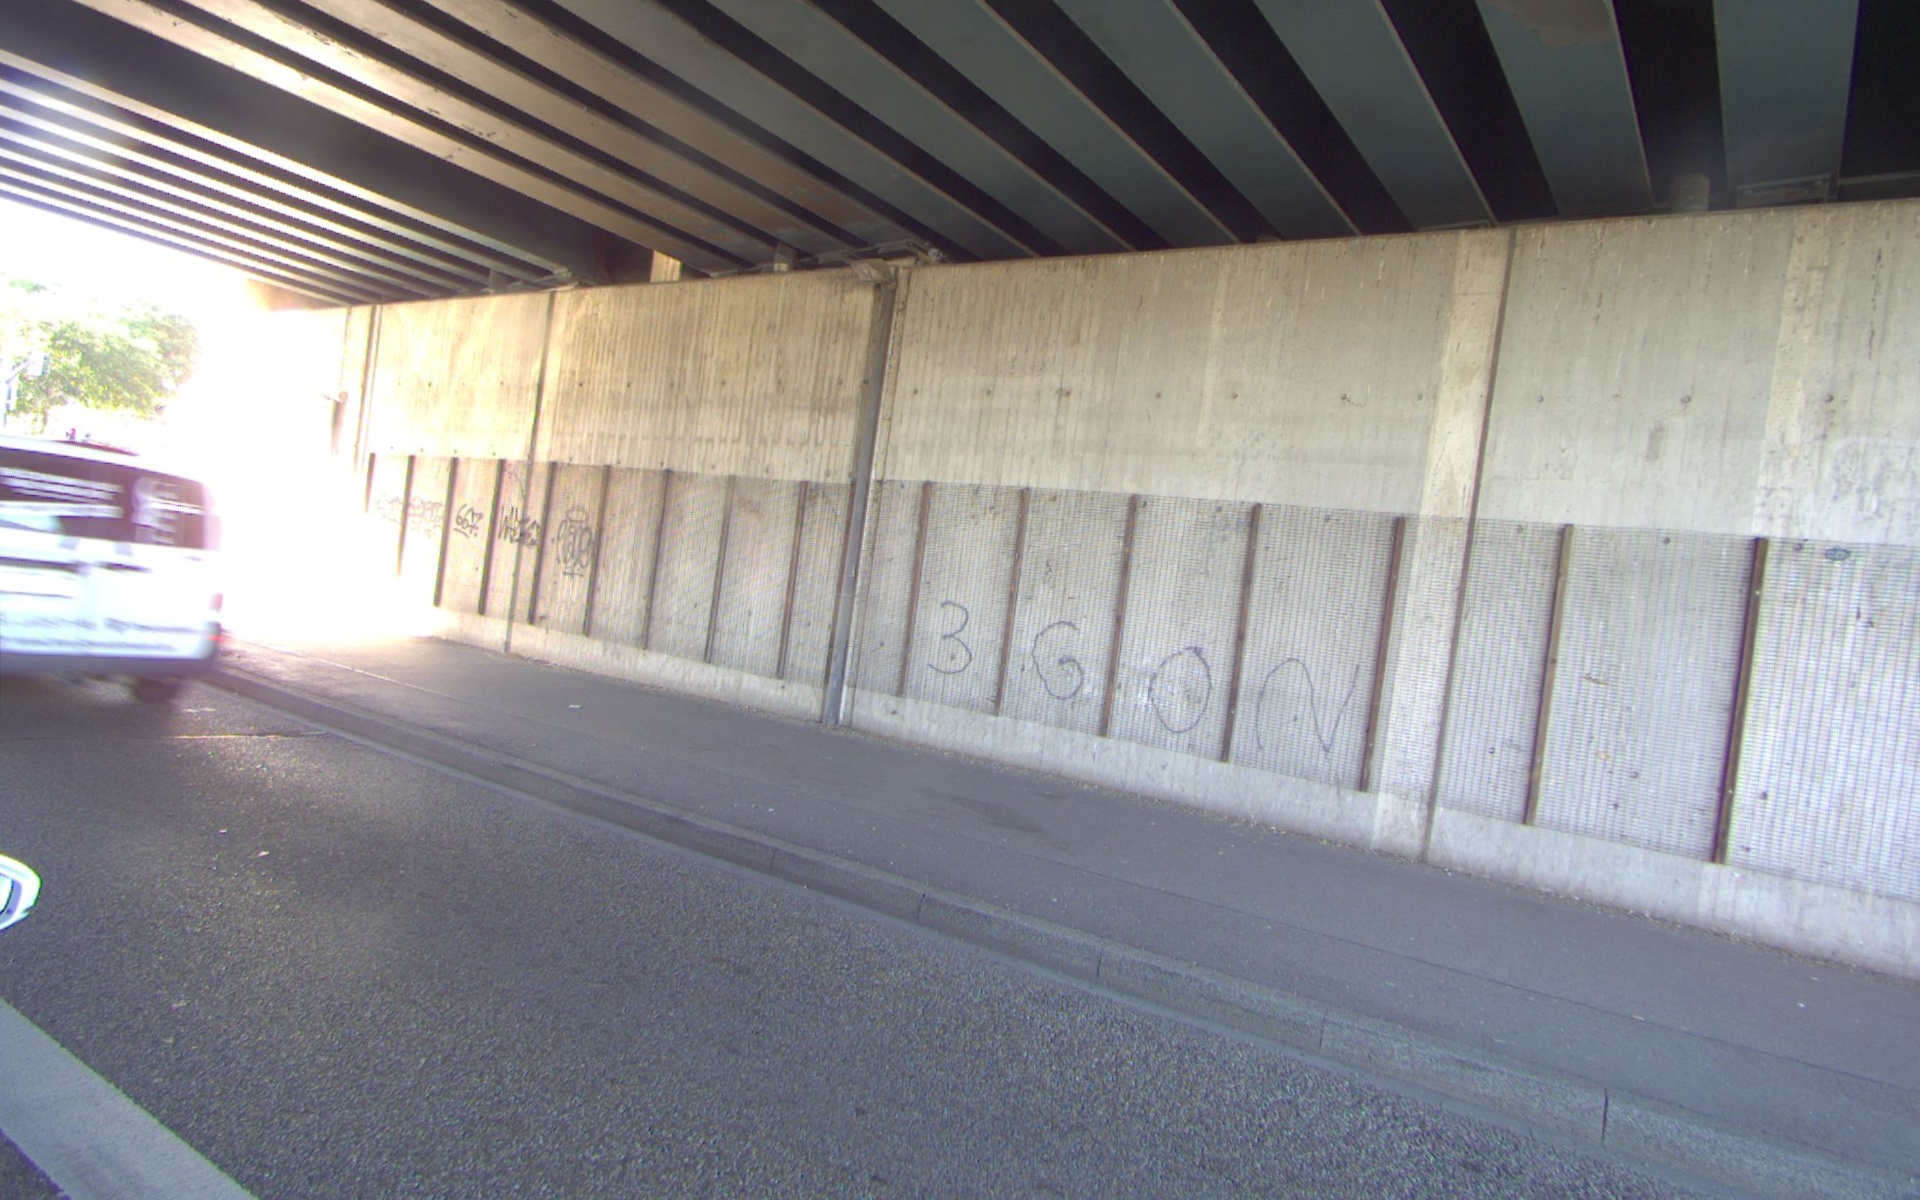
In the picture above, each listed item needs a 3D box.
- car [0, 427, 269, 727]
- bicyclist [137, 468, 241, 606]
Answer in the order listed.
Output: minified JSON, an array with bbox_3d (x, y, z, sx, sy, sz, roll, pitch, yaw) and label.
[{"bbox_3d":[-7.785,-0.335,7.837,4.752,1.857,1.902,7,-1,29],"label":"car"},{"bbox_3d":[-9.403,-0.761,12.276,0.832,1.554,0.653,8,3,30],"label":"bicyclist"}]
